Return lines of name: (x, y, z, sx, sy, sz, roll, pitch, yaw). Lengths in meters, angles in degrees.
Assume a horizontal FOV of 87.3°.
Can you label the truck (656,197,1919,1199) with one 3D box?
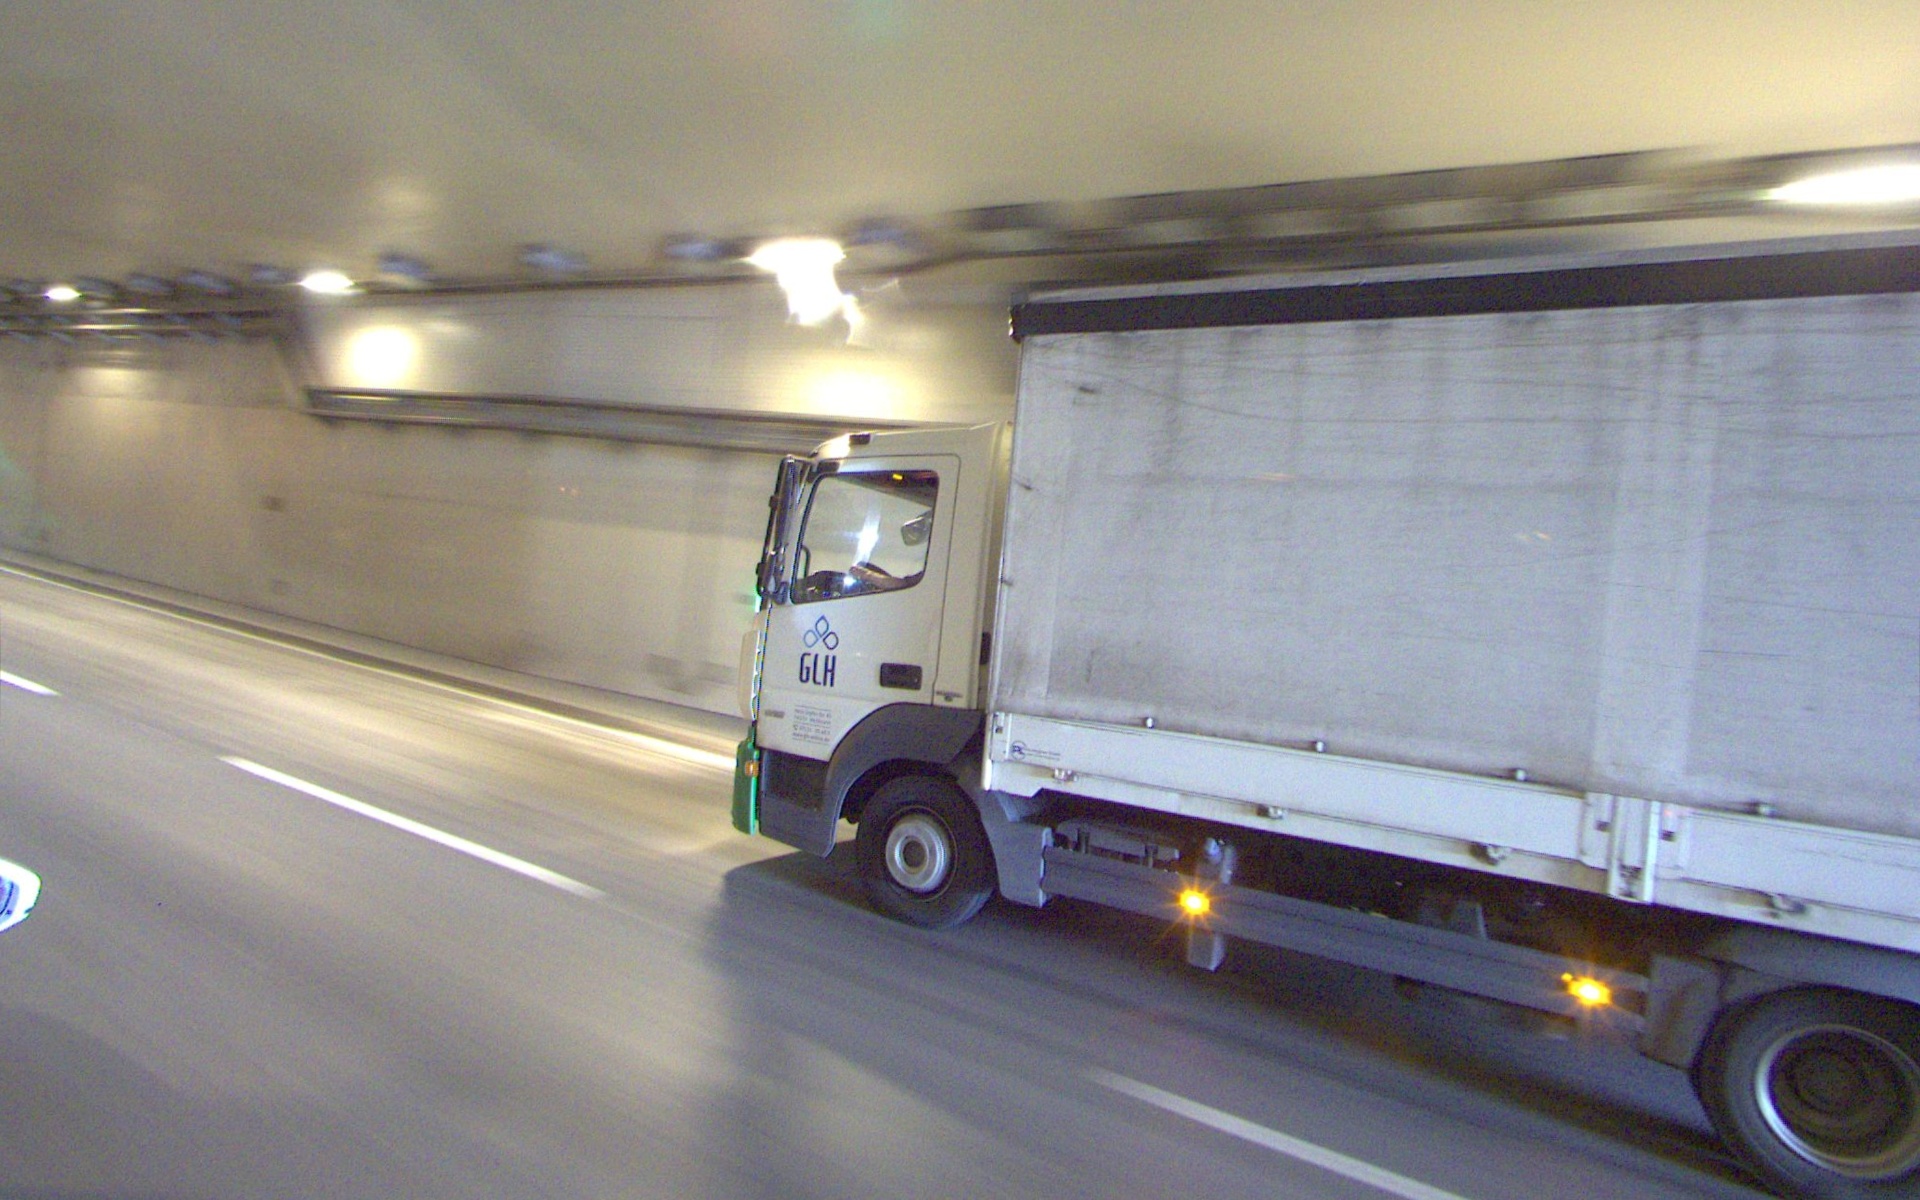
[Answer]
truck: (2.282, 0.321, 4.835, 7.119, 3.219, 2.560, 7, -1, 28)
